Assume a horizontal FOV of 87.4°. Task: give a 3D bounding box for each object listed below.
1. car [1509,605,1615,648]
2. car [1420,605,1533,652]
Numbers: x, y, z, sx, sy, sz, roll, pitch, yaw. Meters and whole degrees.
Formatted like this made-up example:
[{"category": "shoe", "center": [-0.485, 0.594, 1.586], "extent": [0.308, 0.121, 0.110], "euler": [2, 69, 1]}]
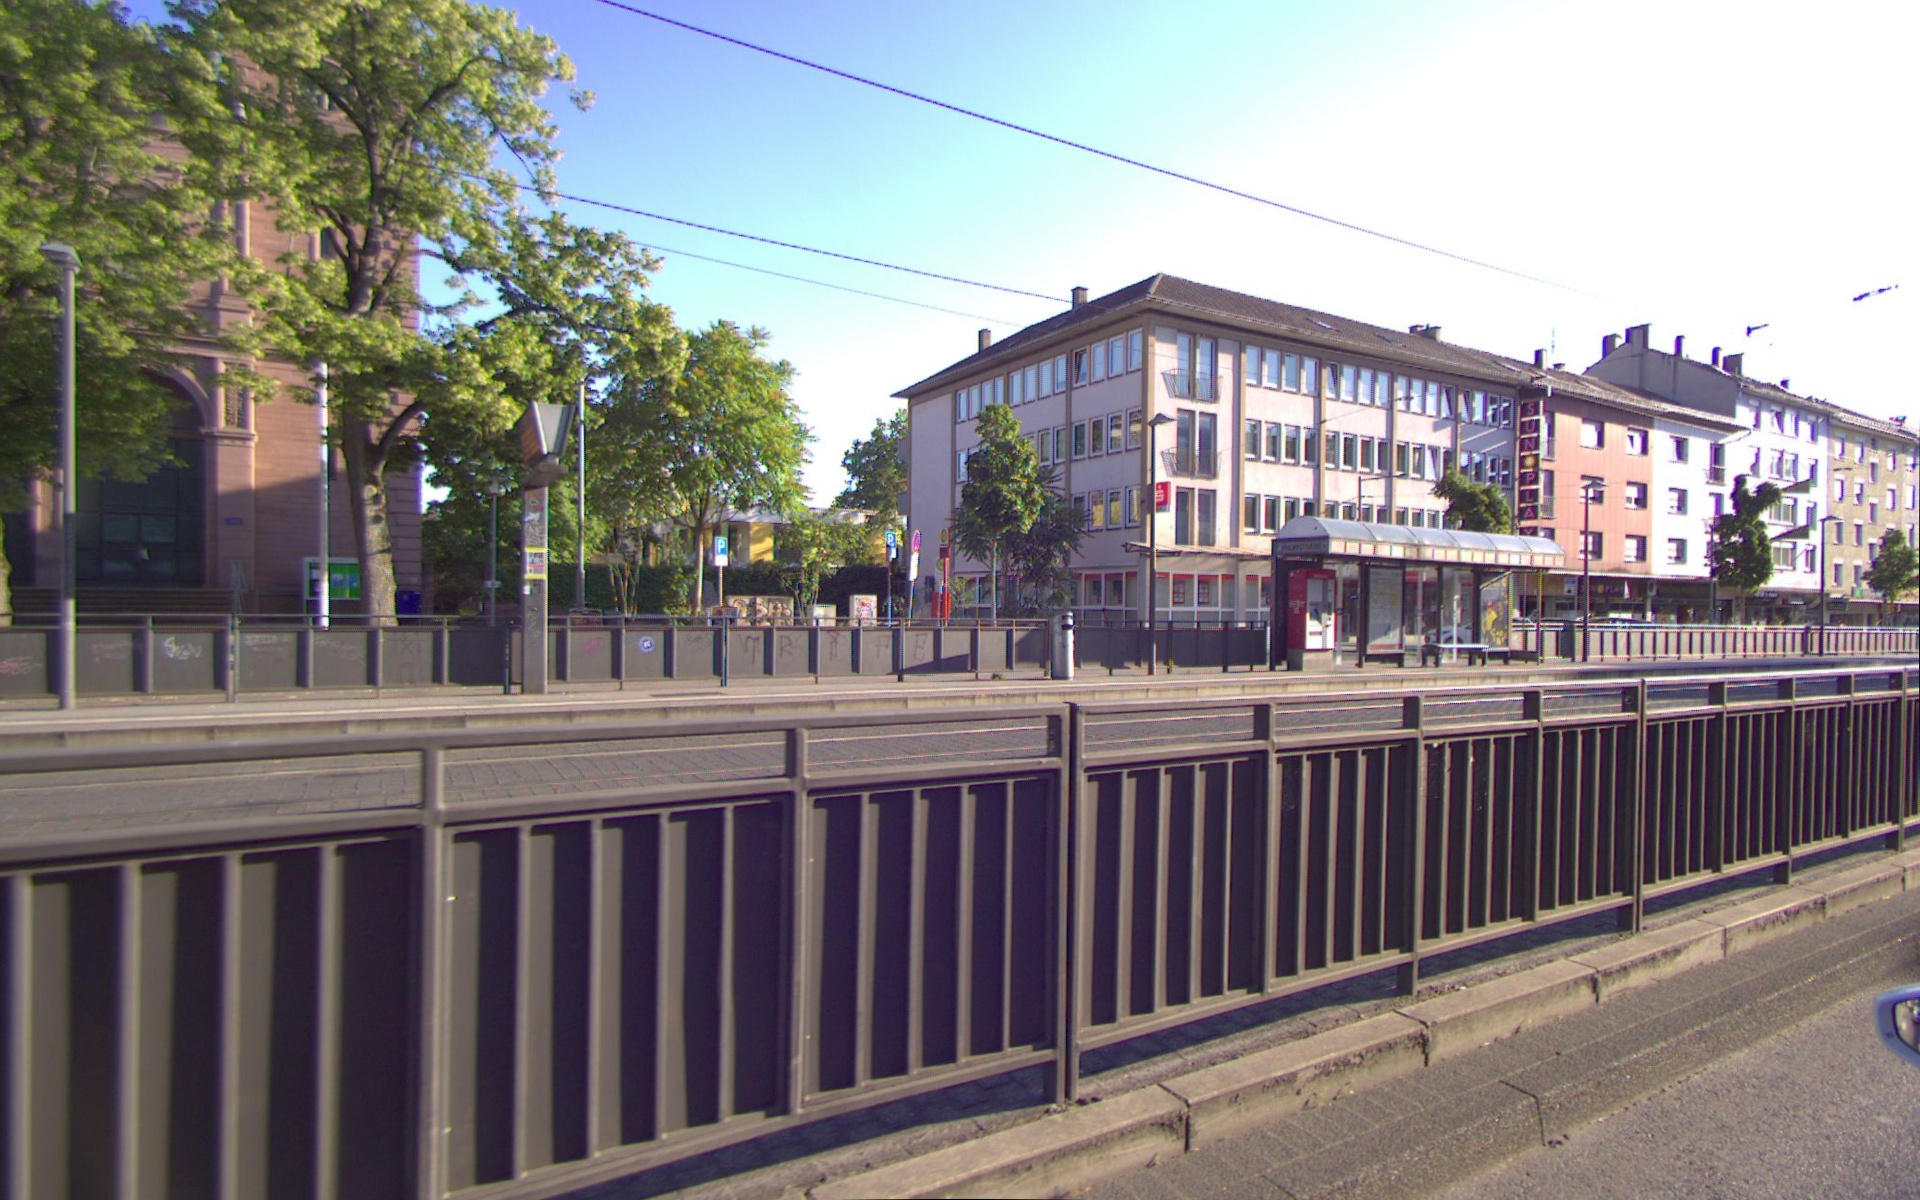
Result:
[{"category": "car", "center": [25.386, 1.100, 42.471], "extent": [3.440, 1.702, 1.772], "euler": [1, 0, 14]}, {"category": "car", "center": [19.553, 1.051, 38.140], "extent": [3.439, 1.702, 1.772], "euler": [1, 0, 9]}]
